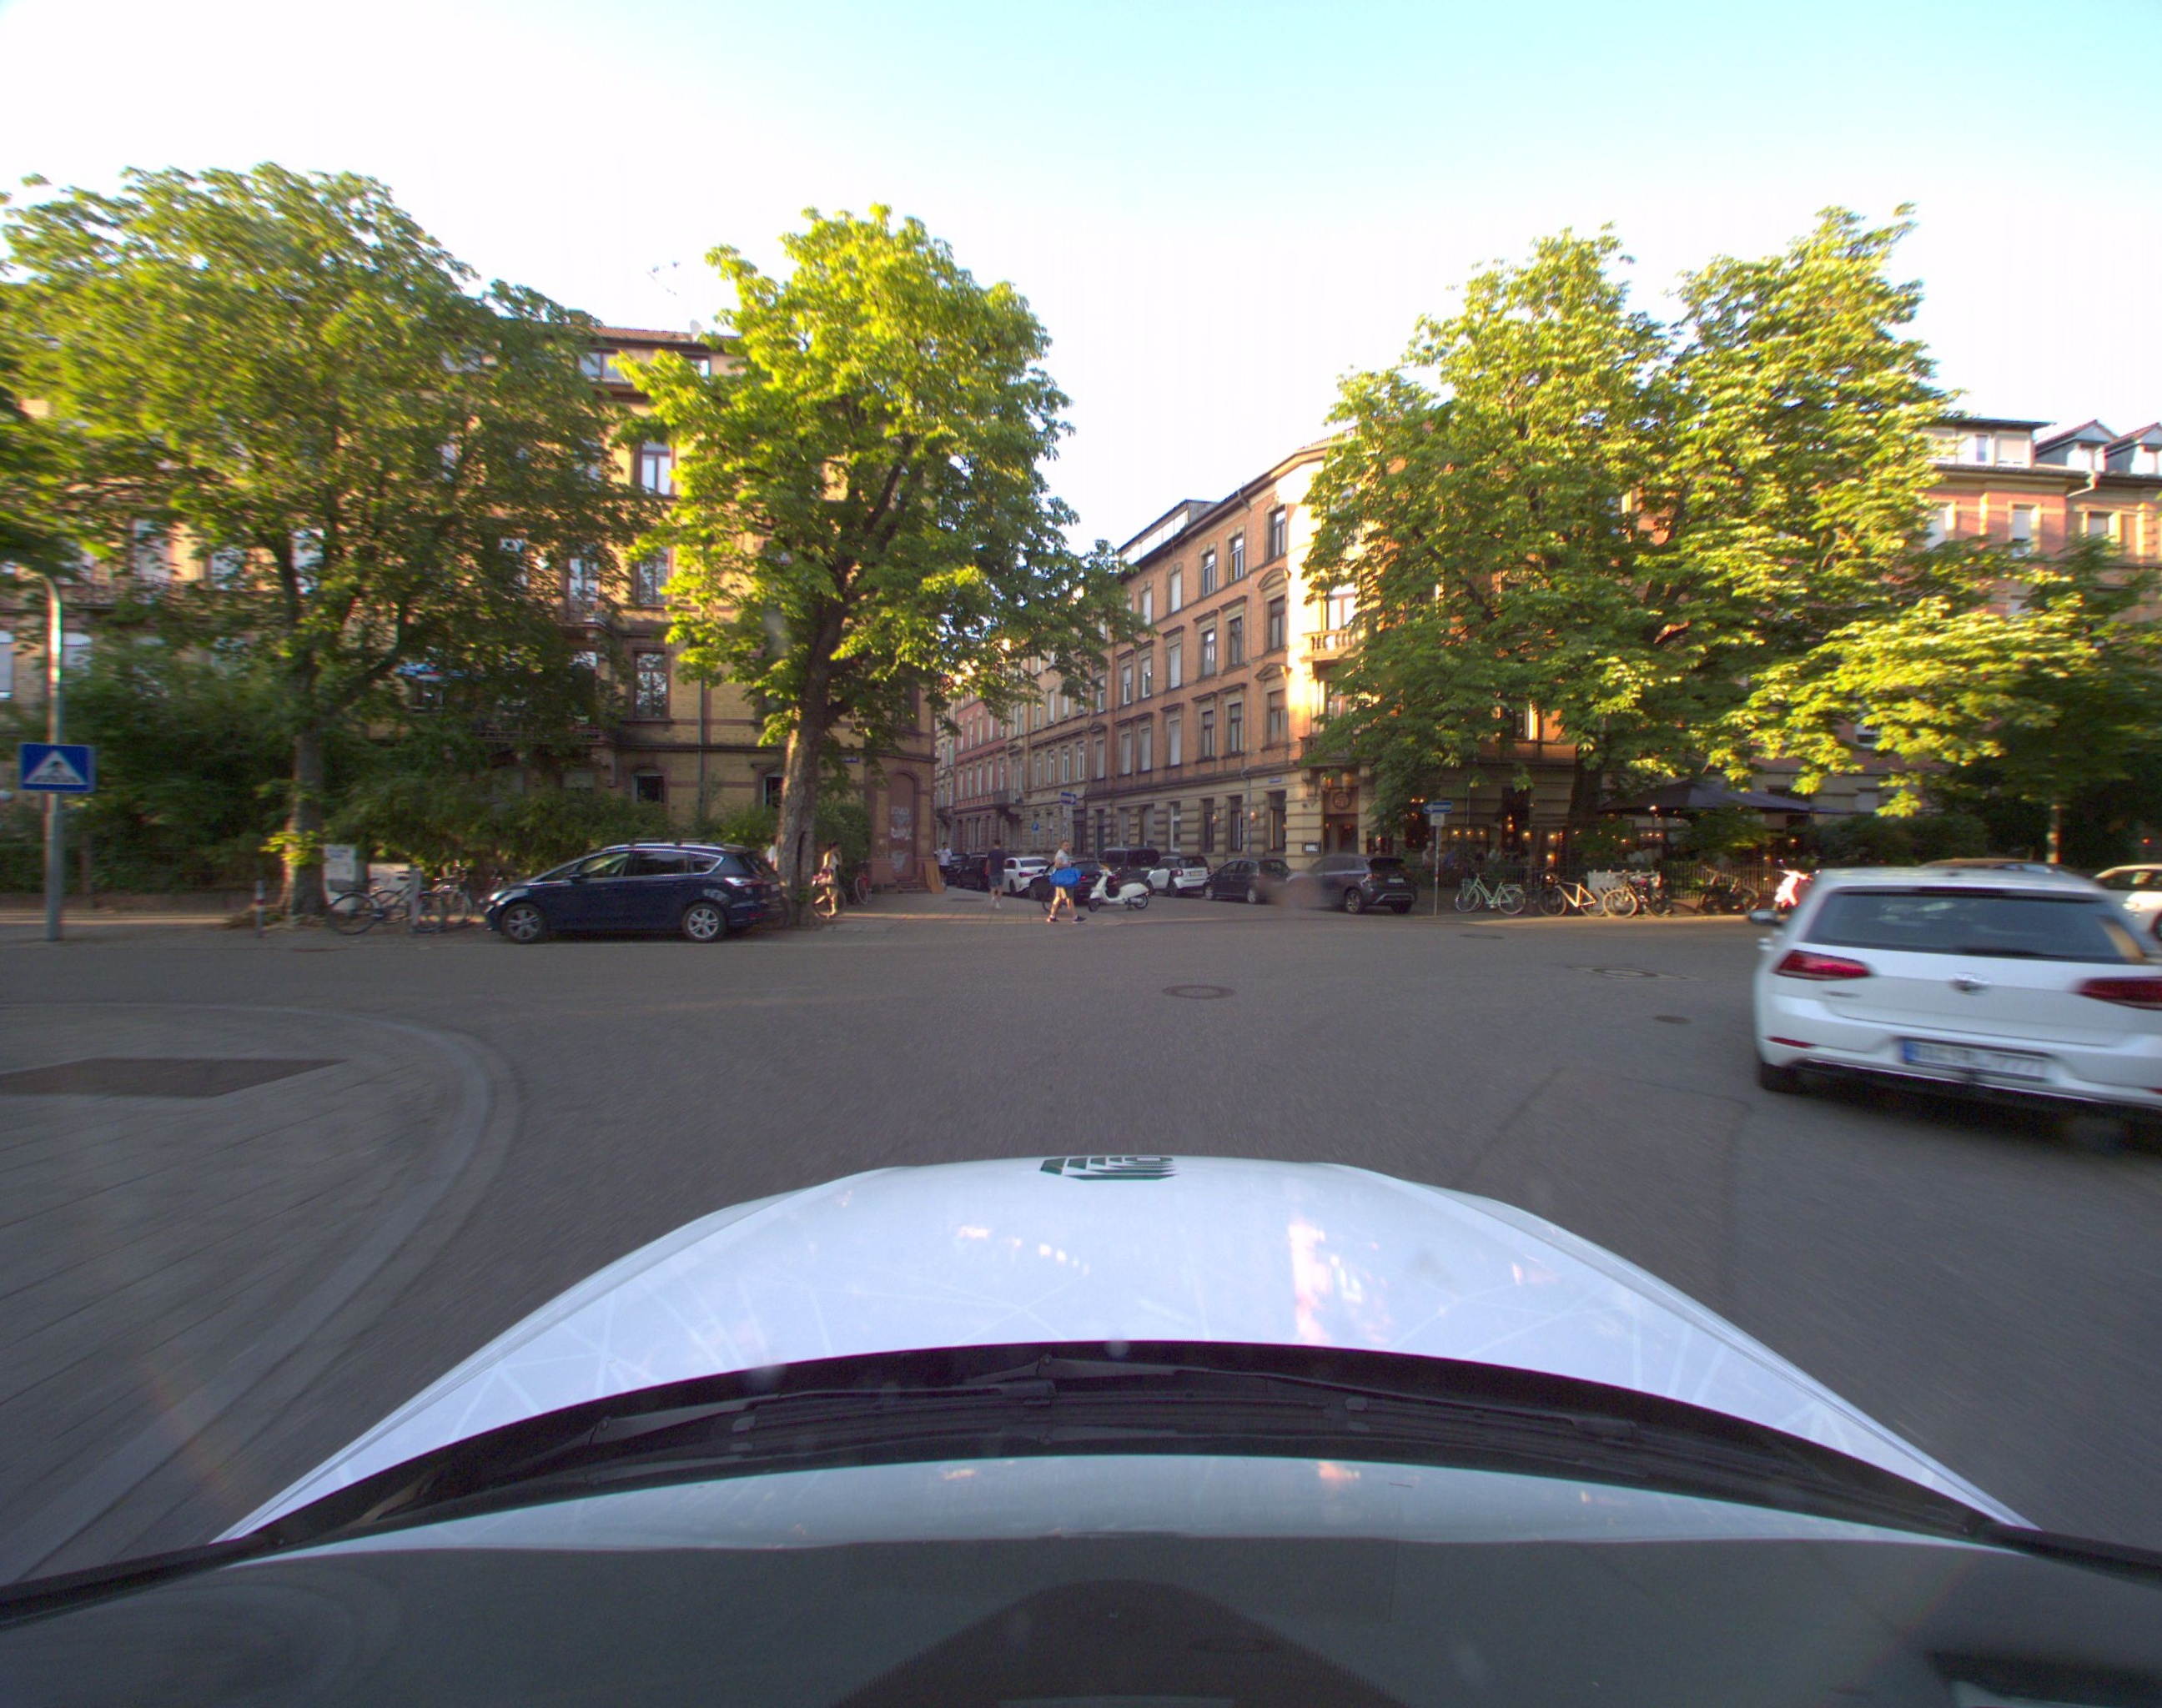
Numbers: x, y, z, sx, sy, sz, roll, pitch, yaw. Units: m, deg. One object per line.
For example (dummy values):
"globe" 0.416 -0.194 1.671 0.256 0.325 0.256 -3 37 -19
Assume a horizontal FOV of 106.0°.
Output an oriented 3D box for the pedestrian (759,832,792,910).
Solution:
"pedestrian" -6.479 0.347 17.297 0.541 1.634 0.447 0 1 -4

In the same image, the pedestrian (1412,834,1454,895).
"pedestrian" 10.765 0.307 24.915 0.843 1.804 0.771 0 1 -19

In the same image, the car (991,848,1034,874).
"car" -4.079 0.406 48.112 1.682 1.431 2.992 1 1 -23

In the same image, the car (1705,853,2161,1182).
"car" 5.848 0.762 5.693 1.858 1.466 3.995 2 1 44

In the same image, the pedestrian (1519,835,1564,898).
"pedestrian" 13.604 0.351 24.063 0.774 1.804 0.839 0 1 -14

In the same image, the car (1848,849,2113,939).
"car" 17.989 0.772 16.380 3.750 1.605 1.625 1 2 -6

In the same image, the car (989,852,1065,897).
"car" -2.078 0.699 30.146 1.661 1.431 4.138 1 1 -21

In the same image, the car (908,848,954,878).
"car" -8.140 0.451 44.014 1.662 1.431 3.867 1 1 -23

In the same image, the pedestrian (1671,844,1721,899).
"pedestrian" 16.856 0.473 22.325 0.773 1.481 0.759 0 1 -10

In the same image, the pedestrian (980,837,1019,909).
"pedestrian" -2.104 0.469 20.957 0.737 1.804 1.115 0 1 -19

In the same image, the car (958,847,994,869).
"car" -7.095 0.245 54.808 1.682 1.431 2.992 1 1 -23

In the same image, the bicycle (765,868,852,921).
"bicycle" -5.630 0.821 16.862 1.679 1.028 0.442 0 1 -23

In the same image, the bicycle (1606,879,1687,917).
"bicycle" 13.832 1.059 19.910 1.969 0.885 0.399 0 1 -13

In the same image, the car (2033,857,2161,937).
"car" 22.312 0.877 16.806 3.750 1.553 1.624 1 0 -6

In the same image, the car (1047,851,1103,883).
"car" -0.345 0.613 39.377 1.682 1.431 2.992 1 1 -23

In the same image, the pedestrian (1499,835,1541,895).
"pedestrian" 13.633 0.328 25.283 0.774 1.804 0.839 0 1 -14

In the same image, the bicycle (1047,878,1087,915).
"bicycle" -0.336 1.029 20.119 0.421 0.822 1.470 1 1 23

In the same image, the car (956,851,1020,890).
"car" -3.990 0.675 34.456 1.662 1.431 3.867 1 1 -23

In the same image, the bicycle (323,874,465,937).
"bicycle" -12.057 0.887 14.356 1.863 1.028 0.442 0 1 -23

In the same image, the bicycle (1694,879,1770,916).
"bicycle" 16.248 1.075 20.319 1.875 0.885 0.399 0 1 -13

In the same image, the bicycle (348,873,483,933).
"bicycle" -12.130 0.876 14.900 1.863 1.028 0.442 0 1 -23

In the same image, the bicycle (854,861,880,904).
"bicycle" -5.606 0.736 21.345 0.318 1.028 1.675 0 1 -3

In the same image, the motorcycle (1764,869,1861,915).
"motorcycle" 18.369 0.952 20.474 1.822 1.081 0.520 1 1 7

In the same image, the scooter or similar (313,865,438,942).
"scooter or similar" -11.827 0.805 13.690 1.519 1.224 0.442 0 1 -23

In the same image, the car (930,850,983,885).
"car" -6.135 0.622 39.803 1.662 1.524 3.867 1 1 -23

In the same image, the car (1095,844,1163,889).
"car" 1.974 0.501 34.076 1.682 1.782 2.992 1 1 -23

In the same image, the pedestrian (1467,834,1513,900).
"pedestrian" 11.491 0.353 22.912 0.774 1.804 0.839 0 1 -14

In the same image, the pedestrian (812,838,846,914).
"pedestrian" -5.581 0.475 18.066 0.541 1.634 0.761 0 1 -3

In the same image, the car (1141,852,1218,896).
"car" 3.652 0.733 30.558 1.682 1.525 2.746 1 1 -23

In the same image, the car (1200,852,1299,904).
"car" 5.517 0.738 27.001 1.682 1.525 3.219 0 1 -23

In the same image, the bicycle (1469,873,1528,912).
"bicycle" 10.870 0.991 21.231 0.321 0.914 1.349 0 1 -41

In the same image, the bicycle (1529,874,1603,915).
"bicycle" 12.019 0.999 20.212 1.560 0.956 0.321 1 1 12

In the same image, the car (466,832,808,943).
"car" -7.523 0.543 14.253 4.821 1.732 1.917 1 1 -5

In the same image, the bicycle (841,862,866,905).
"bicycle" -5.921 0.741 21.230 0.241 1.028 1.675 0 1 -3

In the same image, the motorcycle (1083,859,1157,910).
"motorcycle" 1.065 0.833 22.217 1.931 1.340 0.575 0 1 -10

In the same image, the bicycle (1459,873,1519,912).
"bicycle" 10.539 0.991 21.058 0.321 0.914 1.349 0 1 -41

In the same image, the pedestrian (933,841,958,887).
"pedestrian" -5.371 0.400 32.305 0.843 1.804 0.771 0 1 -19

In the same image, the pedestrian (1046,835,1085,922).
"pedestrian" -0.355 0.521 17.830 0.813 1.852 0.802 0 1 -3

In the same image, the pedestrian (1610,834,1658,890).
"pedestrian" 15.077 0.213 22.221 0.773 1.481 0.759 0 1 -10

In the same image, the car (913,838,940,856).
"car" -13.195 -0.609 69.461 1.682 1.538 2.992 1 1 -23

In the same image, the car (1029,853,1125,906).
"car" -0.219 0.737 25.692 1.661 1.431 3.961 1 1 -23

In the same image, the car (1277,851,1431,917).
"car" 7.377 0.747 22.435 1.922 1.525 3.867 1 2 -23
